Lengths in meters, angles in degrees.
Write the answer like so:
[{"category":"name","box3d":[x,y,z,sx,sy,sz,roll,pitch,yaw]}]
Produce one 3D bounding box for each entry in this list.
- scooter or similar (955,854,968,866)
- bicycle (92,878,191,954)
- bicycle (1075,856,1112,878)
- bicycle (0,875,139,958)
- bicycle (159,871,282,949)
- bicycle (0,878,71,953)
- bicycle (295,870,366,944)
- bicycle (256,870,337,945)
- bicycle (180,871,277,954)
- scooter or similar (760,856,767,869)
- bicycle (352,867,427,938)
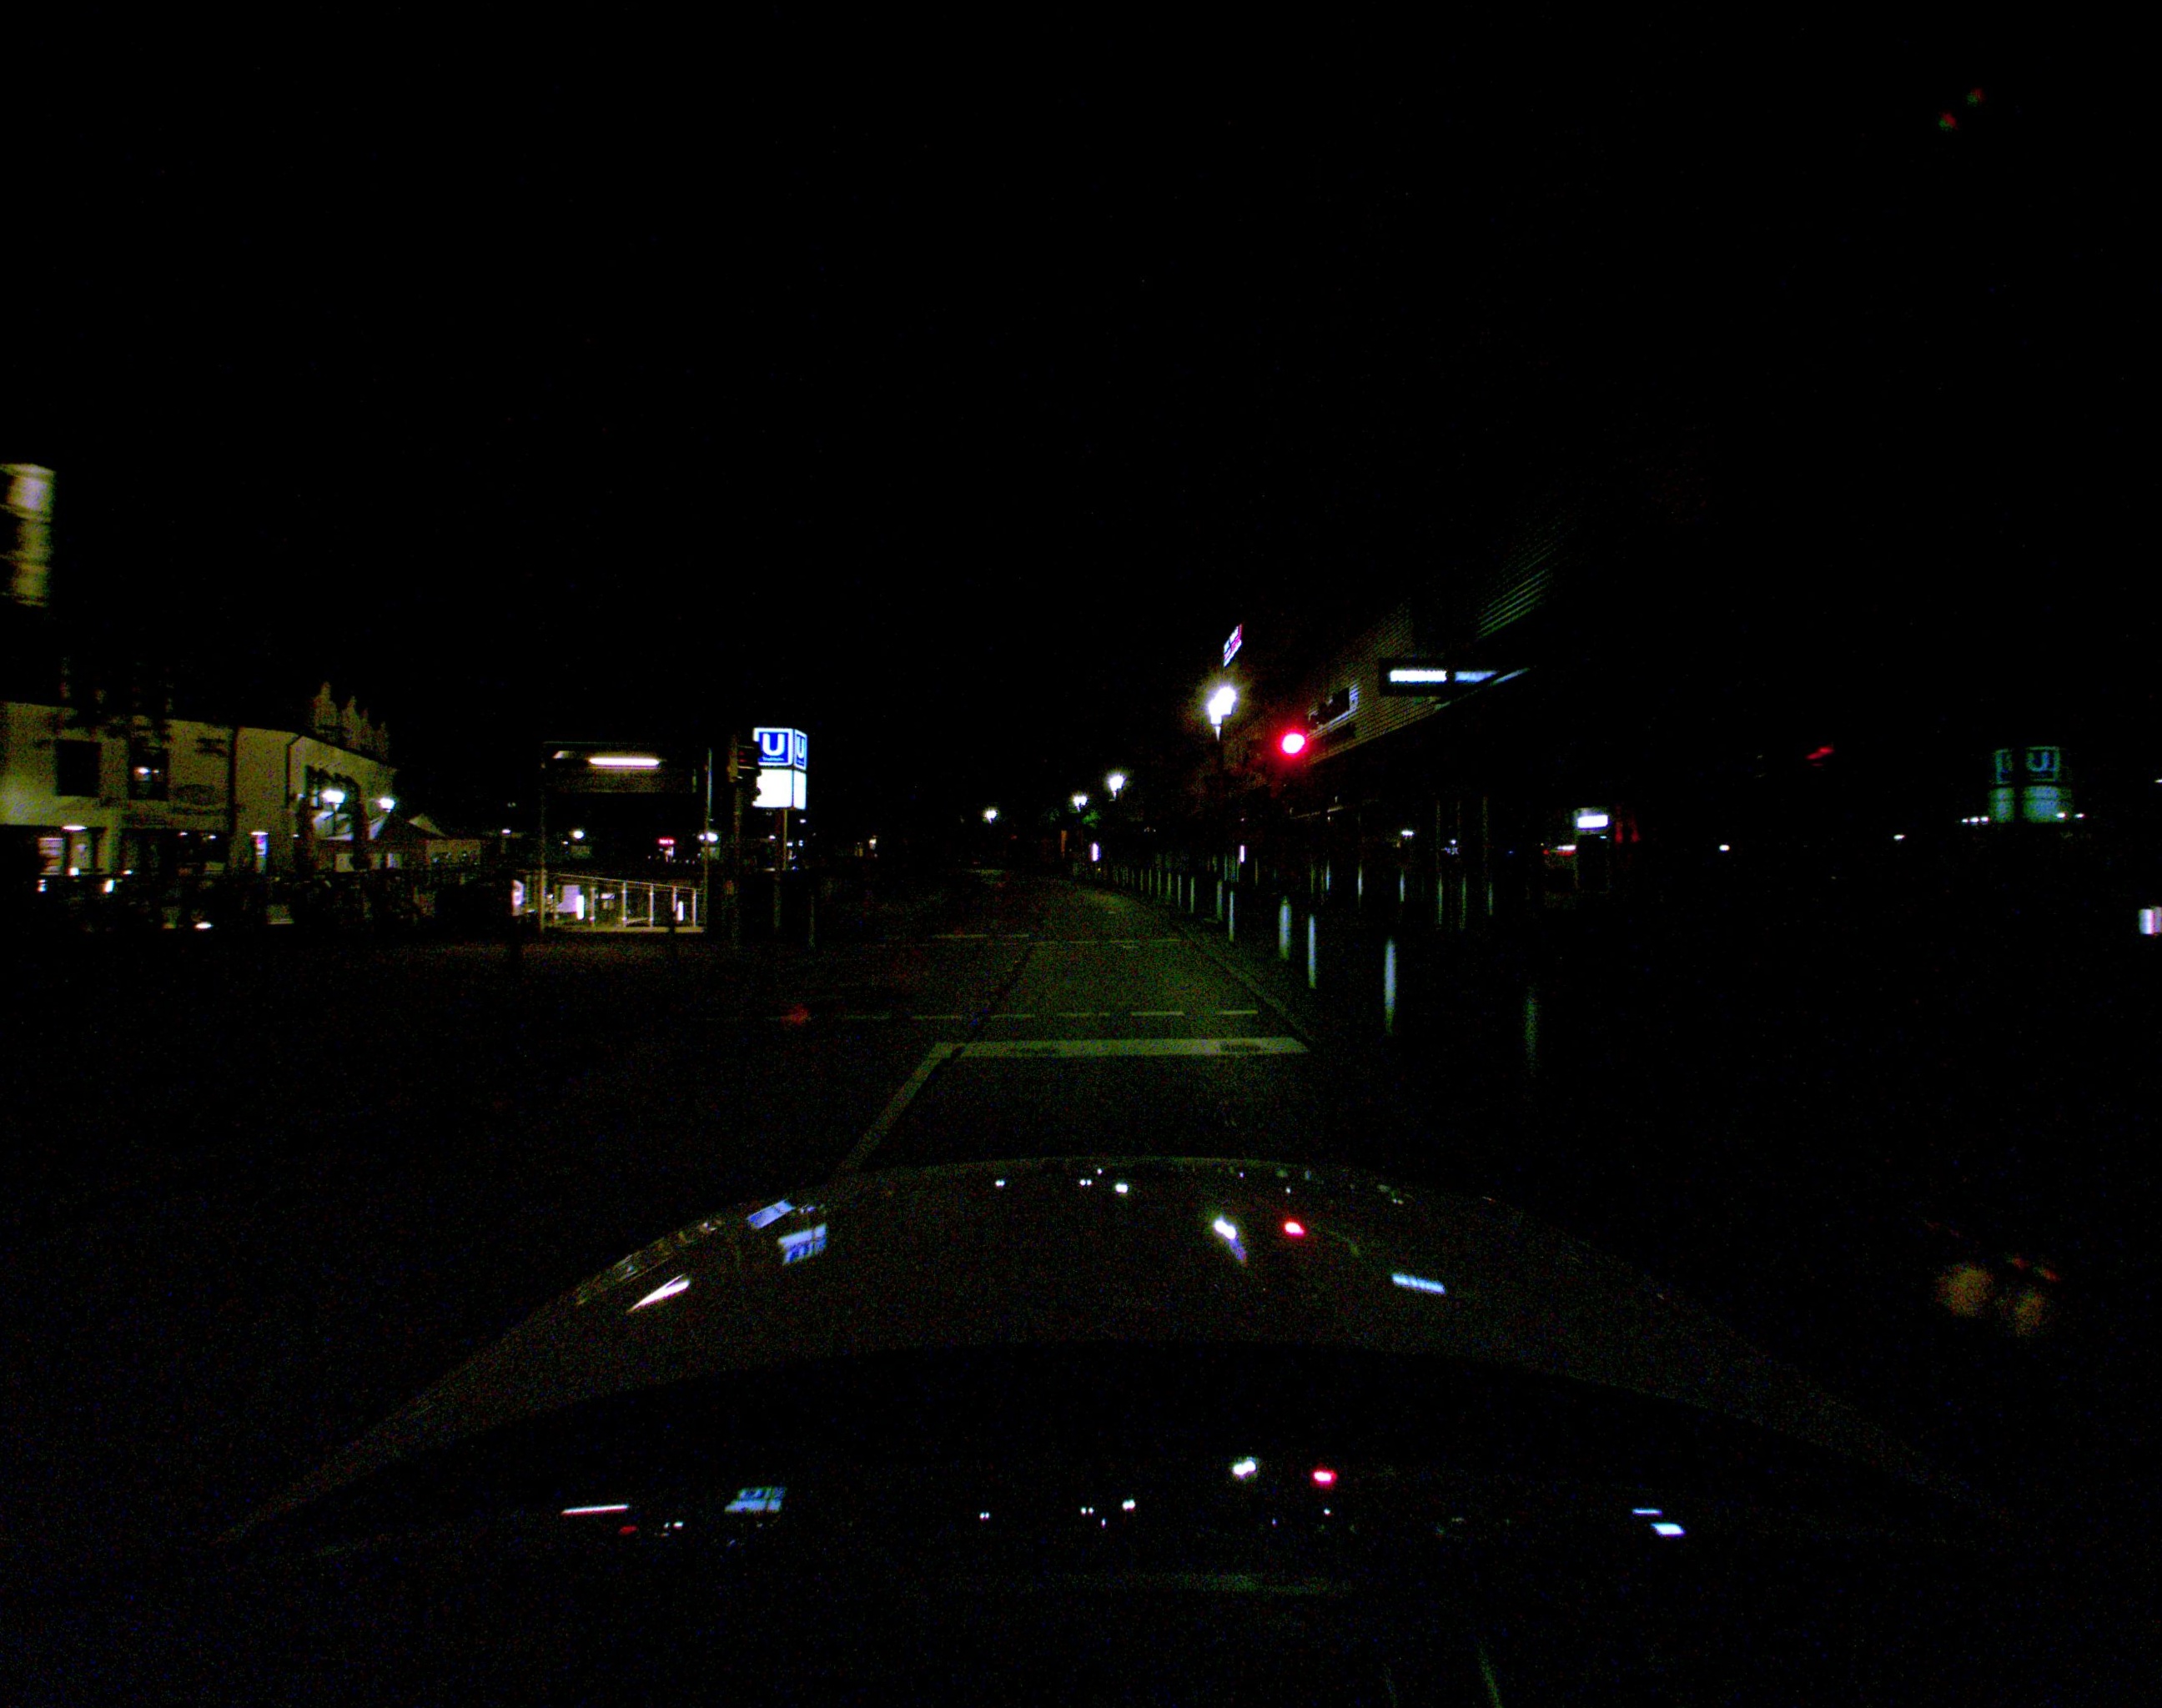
[{"category":"scooter or similar","box3d":[-12.283,0.622,83.670,1.253,1.227,0.593,1,0,-27]},{"category":"bicycle","box3d":[-15.176,0.960,13.204,0.611,1.069,1.728,-2,1,-35]},{"category":"bicycle","box3d":[0.639,0.642,40.908,1.757,1.062,0.650,0,1,-24]},{"category":"bicycle","box3d":[-15.938,0.939,12.795,0.608,1.125,1.737,-1,1,-16]},{"category":"bicycle","box3d":[-14.600,0.906,13.882,0.608,1.165,1.738,-1,1,-16]},{"category":"bicycle","box3d":[-16.798,0.959,12.560,0.608,1.100,1.737,-1,1,-16]},{"category":"bicycle","box3d":[-13.033,0.884,14.187,0.547,1.154,1.730,-1,1,-31]},{"category":"bicycle","box3d":[-13.571,0.888,14.132,0.611,1.165,1.730,-1,1,-31]},{"category":"bicycle","box3d":[-13.691,0.899,13.127,0.611,1.165,1.730,-1,1,-31]},{"category":"scooter or similar","box3d":[-32.875,0.856,84.305,0.433,1.284,1.135,-1,1,-33]},{"category":"bicycle","box3d":[-12.695,0.859,15.003,0.764,1.162,1.730,-1,1,-31]}]
